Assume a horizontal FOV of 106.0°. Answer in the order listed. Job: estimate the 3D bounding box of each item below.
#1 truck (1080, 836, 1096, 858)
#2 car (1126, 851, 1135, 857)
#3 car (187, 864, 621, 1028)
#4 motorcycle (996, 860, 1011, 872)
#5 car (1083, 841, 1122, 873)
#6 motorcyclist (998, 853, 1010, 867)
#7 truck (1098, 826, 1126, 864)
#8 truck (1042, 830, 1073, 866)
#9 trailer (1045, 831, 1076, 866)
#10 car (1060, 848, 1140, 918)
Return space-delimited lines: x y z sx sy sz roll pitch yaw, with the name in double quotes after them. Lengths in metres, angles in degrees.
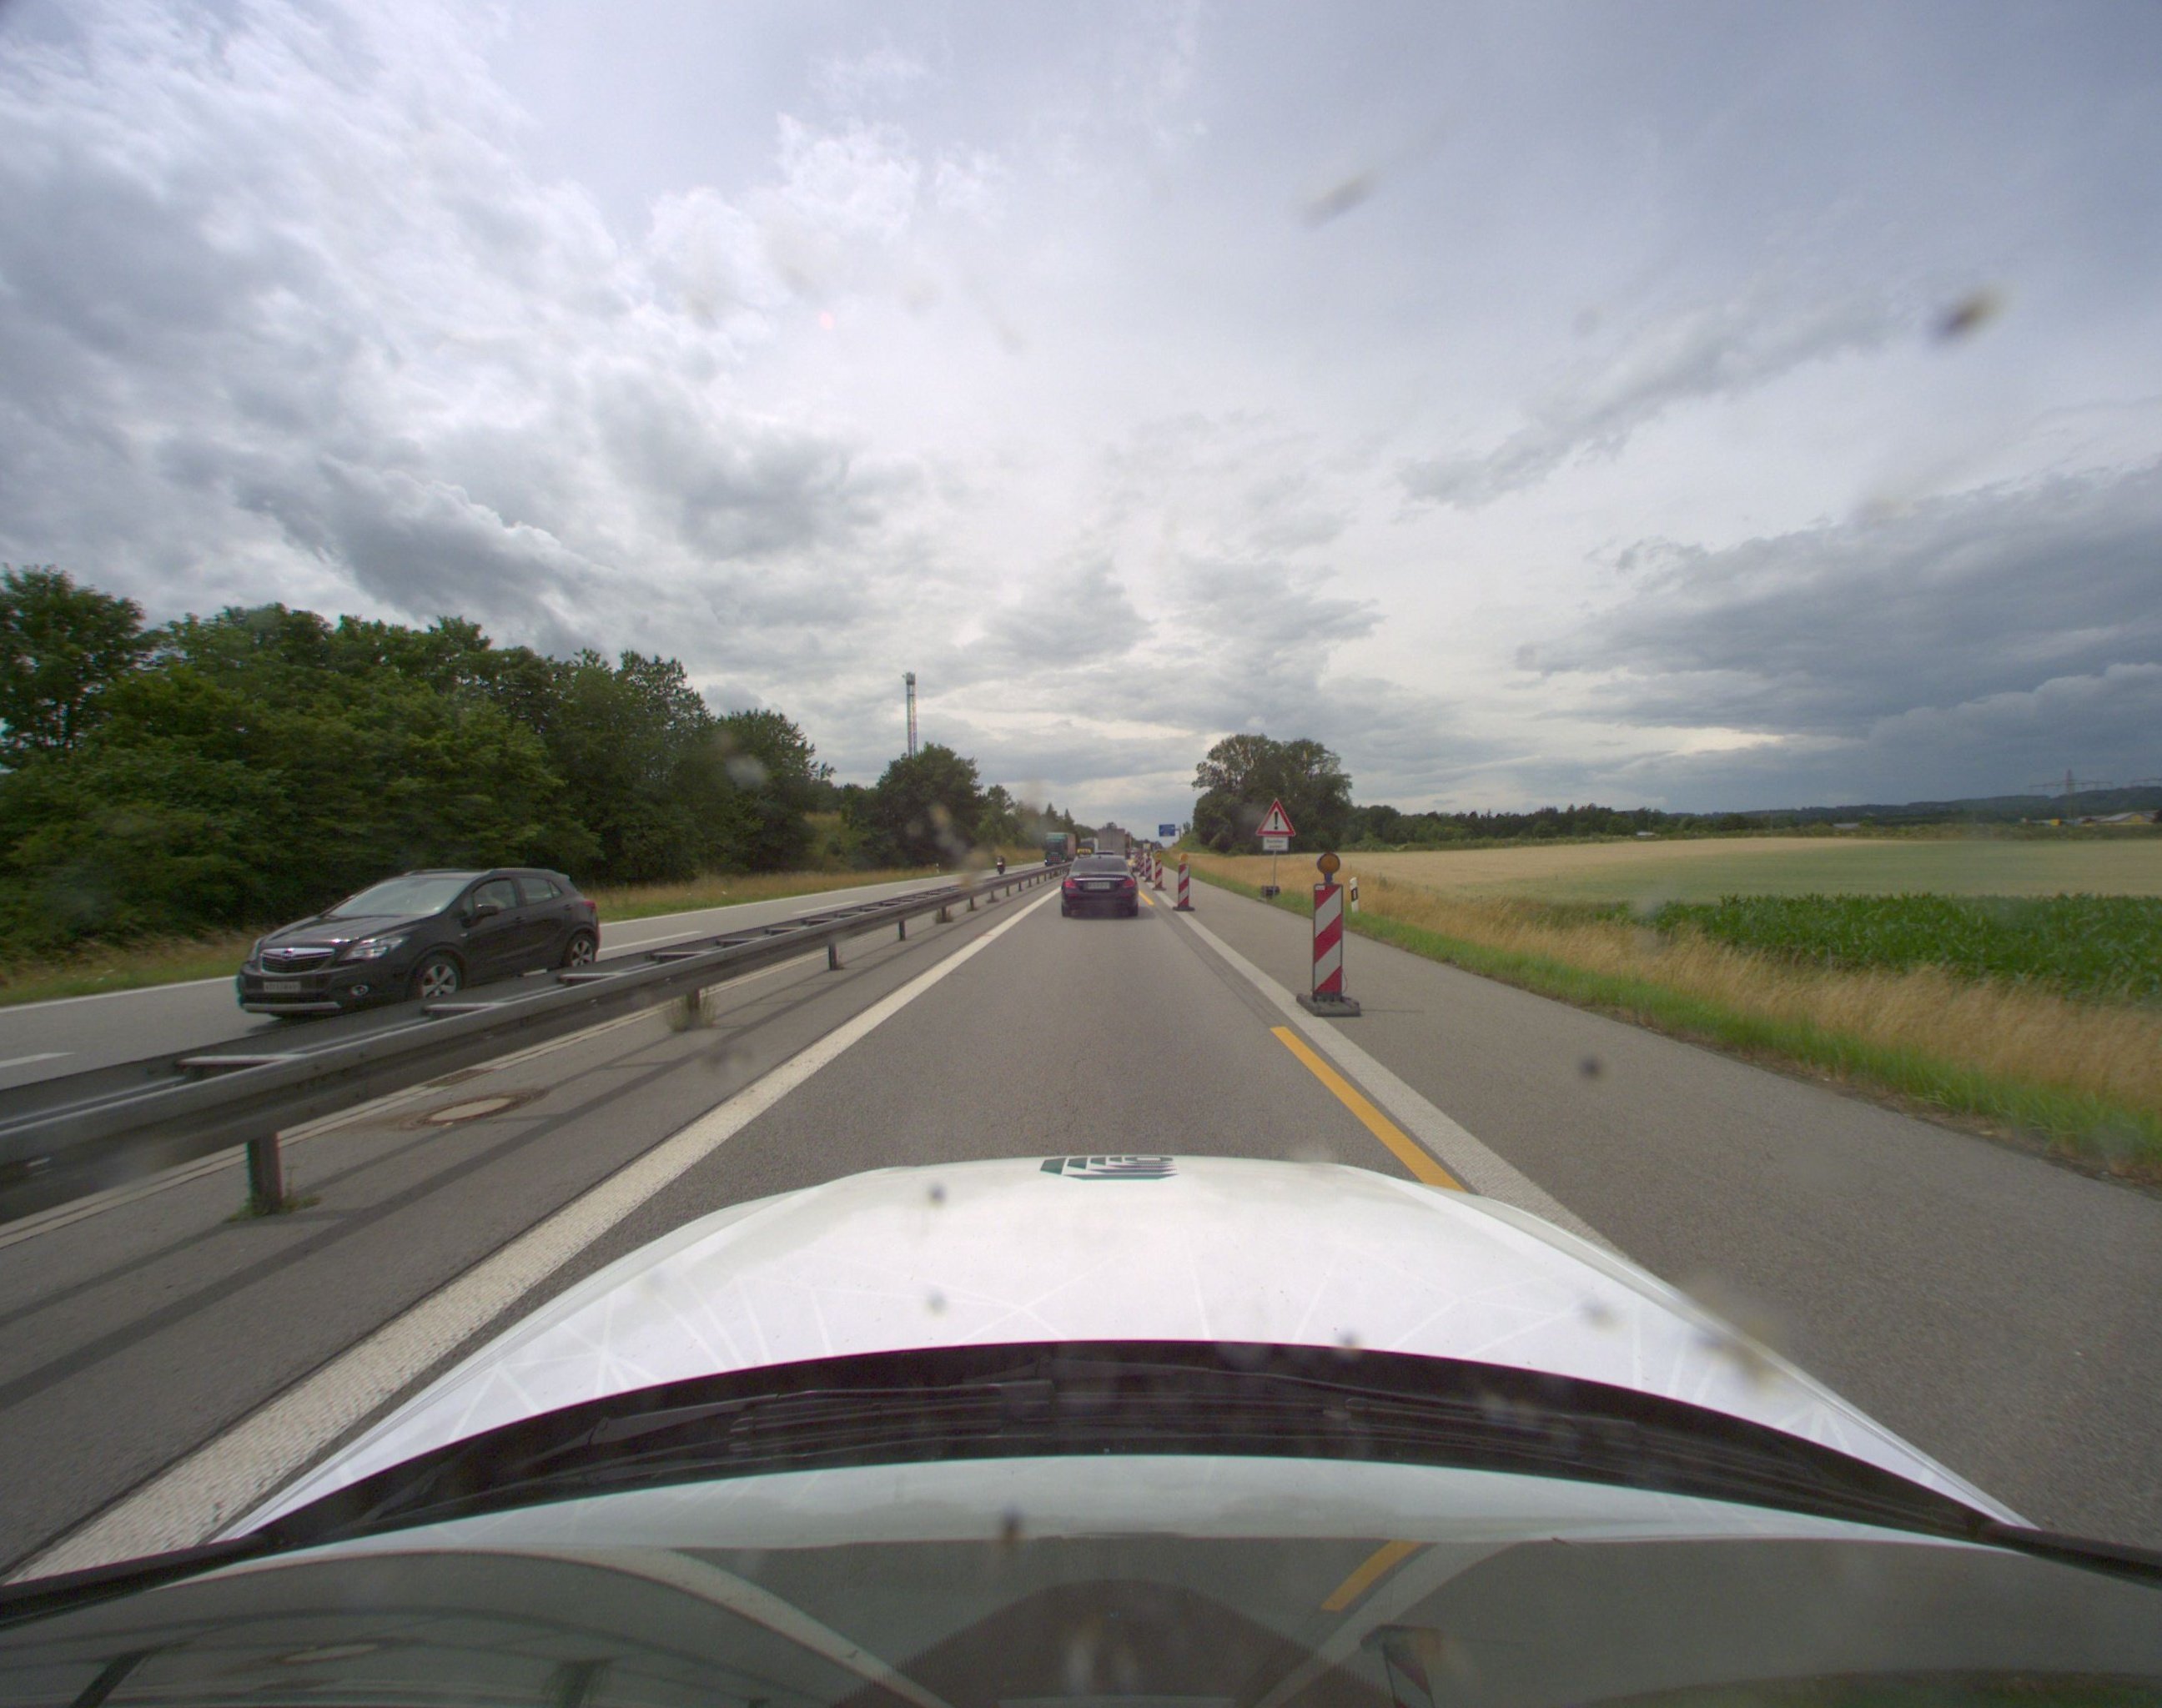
1.395 -1.321 158.006 2.628 4.170 6.992 0 -1 4 "truck"
11.664 0.057 191.341 1.645 1.395 3.703 0 -1 -2 "car"
-8.202 0.975 10.542 1.986 1.684 4.234 0 -1 1 "car"
-6.415 1.019 67.642 0.852 0.934 2.725 0 0 2 "motorcycle"
1.356 0.194 52.716 1.991 2.014 3.990 0 -1 -7 "car"
-6.416 0.498 67.548 0.858 1.209 0.961 0 -1 1 "motorcyclist"
2.947 -0.836 78.907 2.578 3.524 4.813 0 -1 1 "truck"
-2.809 -0.637 98.644 3.109 4.213 6.787 0 -1 4 "truck"
-2.501 -0.624 104.231 3.138 4.213 11.649 0 -1 2 "trailer"
0.539 0.664 20.266 1.788 1.560 4.003 0 -1 3 "car"
